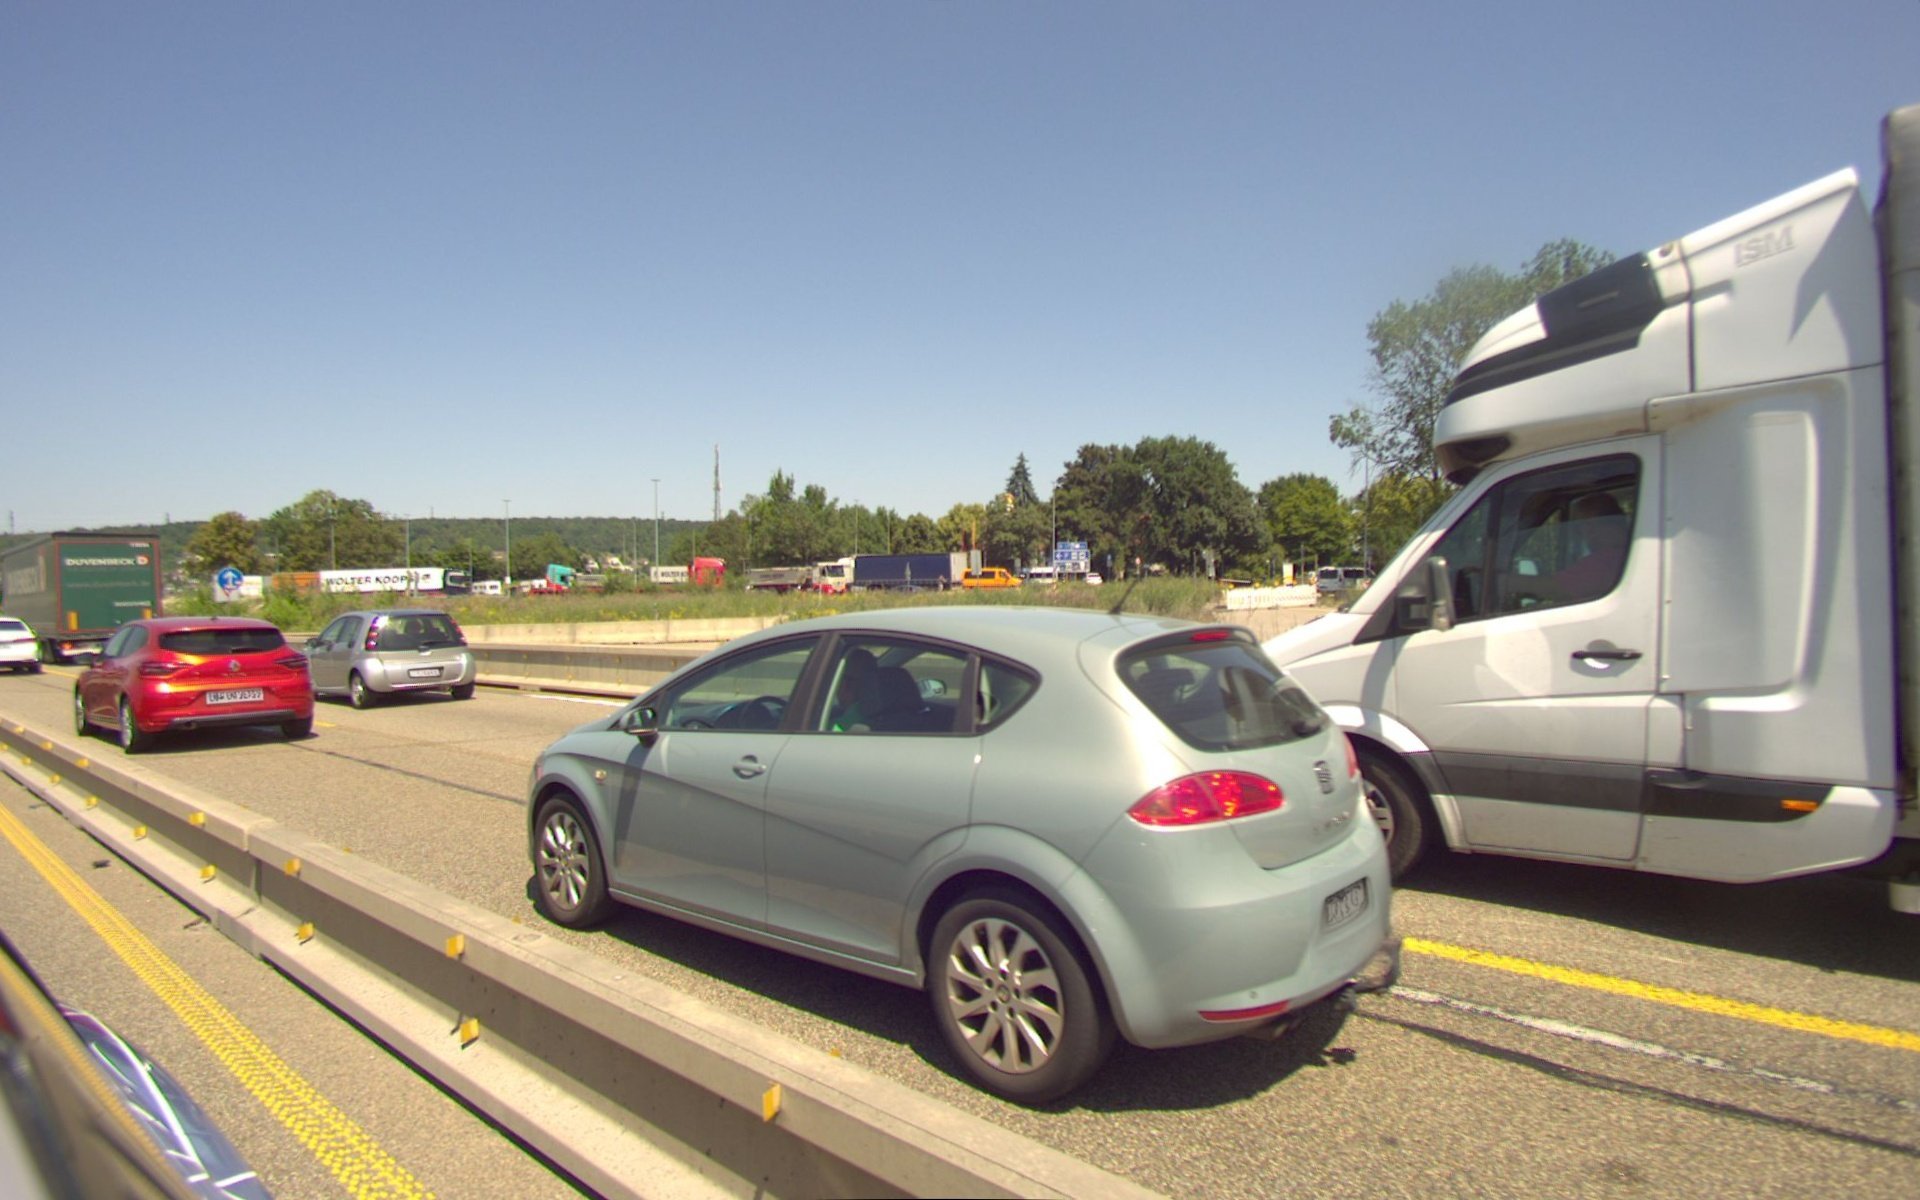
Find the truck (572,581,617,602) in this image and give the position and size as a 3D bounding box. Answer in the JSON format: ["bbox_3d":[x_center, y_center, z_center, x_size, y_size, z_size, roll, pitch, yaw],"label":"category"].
[{"bbox_3d":[-51.149,-1.197,141.601,7.775,2.624,2.515,-1,1,42],"label":"truck"}]

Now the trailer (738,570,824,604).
[{"bbox_3d":[-16.806,-1.189,94.481,9.384,2.788,2.232,-2,1,39],"label":"trailer"}]

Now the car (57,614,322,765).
[{"bbox_3d":[-9.065,0.920,11.790,3.997,1.445,1.632,-1,-1,40],"label":"car"}]

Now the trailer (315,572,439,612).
[{"bbox_3d":[-68.944,-0.987,119.844,12.559,3.812,2.624,-4,2,-5],"label":"trailer"}]

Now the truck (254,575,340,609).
[{"bbox_3d":[-88.960,-1.102,135.864,9.133,3.701,2.867,-4,3,-5],"label":"truck"}]

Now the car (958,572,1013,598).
[{"bbox_3d":[2.456,-1.443,95.917,4.965,2.270,1.996,-2,1,7],"label":"car"}]

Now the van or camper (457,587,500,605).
[{"bbox_3d":[-78.276,-0.669,164.472,8.583,2.754,2.728,-1,0,37],"label":"van or camper"}]

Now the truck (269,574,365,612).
[{"bbox_3d":[-83.681,-0.936,131.878,9.741,4.250,3.590,-4,2,-6],"label":"truck"}]

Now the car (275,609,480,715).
[{"bbox_3d":[-9.424,0.922,16.265,3.782,1.459,1.607,-1,0,40],"label":"car"}]

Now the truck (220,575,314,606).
[{"bbox_3d":[-101.028,-1.404,147.640,11.342,3.701,2.535,-4,3,-5],"label":"truck"}]

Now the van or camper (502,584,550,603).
[{"bbox_3d":[-66.095,-0.957,154.101,8.583,2.754,2.728,-1,0,37],"label":"van or camper"}]

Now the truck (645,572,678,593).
[{"bbox_3d":[-49.016,-2.869,166.317,4.902,3.382,2.866,-2,1,39],"label":"truck"}]

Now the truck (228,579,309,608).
[{"bbox_3d":[-97.975,-0.951,143.525,9.017,3.568,2.696,-4,2,-6],"label":"truck"}]

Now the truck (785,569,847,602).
[{"bbox_3d":[-13.055,-1.279,91.511,5.624,2.788,2.248,-2,1,39],"label":"truck"}]

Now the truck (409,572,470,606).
[{"bbox_3d":[-61.932,-1.330,120.546,5.647,3.644,2.586,-4,2,-8],"label":"truck"}]

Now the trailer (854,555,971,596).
[{"bbox_3d":[-5.032,-2.416,102.762,13.425,3.649,2.991,-2,1,41],"label":"trailer"}]

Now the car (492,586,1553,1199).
[{"bbox_3d":[-0.120,0.723,4.169,4.198,1.439,1.665,-1,-1,40],"label":"car"}]

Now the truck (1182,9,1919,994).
[{"bbox_3d":[4.886,-0.374,3.719,7.709,3.410,2.365,-1,0,41],"label":"truck"}]

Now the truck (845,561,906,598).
[{"bbox_3d":[-8.889,-2.108,106.085,5.956,3.649,2.835,-2,1,41],"label":"truck"}]

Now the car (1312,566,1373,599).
[{"bbox_3d":[25.337,-1.176,67.013,3.936,2.028,2.004,-3,1,-38],"label":"car"}]

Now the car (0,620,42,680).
[{"bbox_3d":[-25.961,1.292,26.801,4.757,1.504,1.876,-1,-1,41],"label":"car"}]

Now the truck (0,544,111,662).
[{"bbox_3d":[-35.708,0.161,39.498,6.279,4.235,2.976,-2,0,41],"label":"truck"}]

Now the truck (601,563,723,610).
[{"bbox_3d":[-25.886,-1.187,88.279,9.941,3.805,2.002,-1,0,-4],"label":"truck"}]

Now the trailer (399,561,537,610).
[{"bbox_3d":[-50.120,-1.493,103.397,12.191,4.197,2.864,-4,2,-4],"label":"trailer"}]

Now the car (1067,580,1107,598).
[{"bbox_3d":[13.846,-1.152,110.195,3.938,1.847,1.745,-1,0,-6],"label":"car"}]

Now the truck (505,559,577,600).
[{"bbox_3d":[-42.972,-2.120,103.955,6.053,3.777,2.837,-4,2,-5],"label":"truck"}]

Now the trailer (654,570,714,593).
[{"bbox_3d":[-44.417,-2.979,162.600,11.693,3.405,2.915,-1,0,39],"label":"trailer"}]

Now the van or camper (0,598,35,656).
[{"bbox_3d":[-51.830,1.439,54.379,7.822,2.939,2.411,-1,0,42],"label":"van or camper"}]

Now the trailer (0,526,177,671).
[{"bbox_3d":[-30.731,0.078,35.183,13.844,4.230,2.975,-1,0,41],"label":"trailer"}]

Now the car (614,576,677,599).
[{"bbox_3d":[-23.179,-0.912,74.699,3.955,1.519,1.994,-1,0,9],"label":"car"}]
